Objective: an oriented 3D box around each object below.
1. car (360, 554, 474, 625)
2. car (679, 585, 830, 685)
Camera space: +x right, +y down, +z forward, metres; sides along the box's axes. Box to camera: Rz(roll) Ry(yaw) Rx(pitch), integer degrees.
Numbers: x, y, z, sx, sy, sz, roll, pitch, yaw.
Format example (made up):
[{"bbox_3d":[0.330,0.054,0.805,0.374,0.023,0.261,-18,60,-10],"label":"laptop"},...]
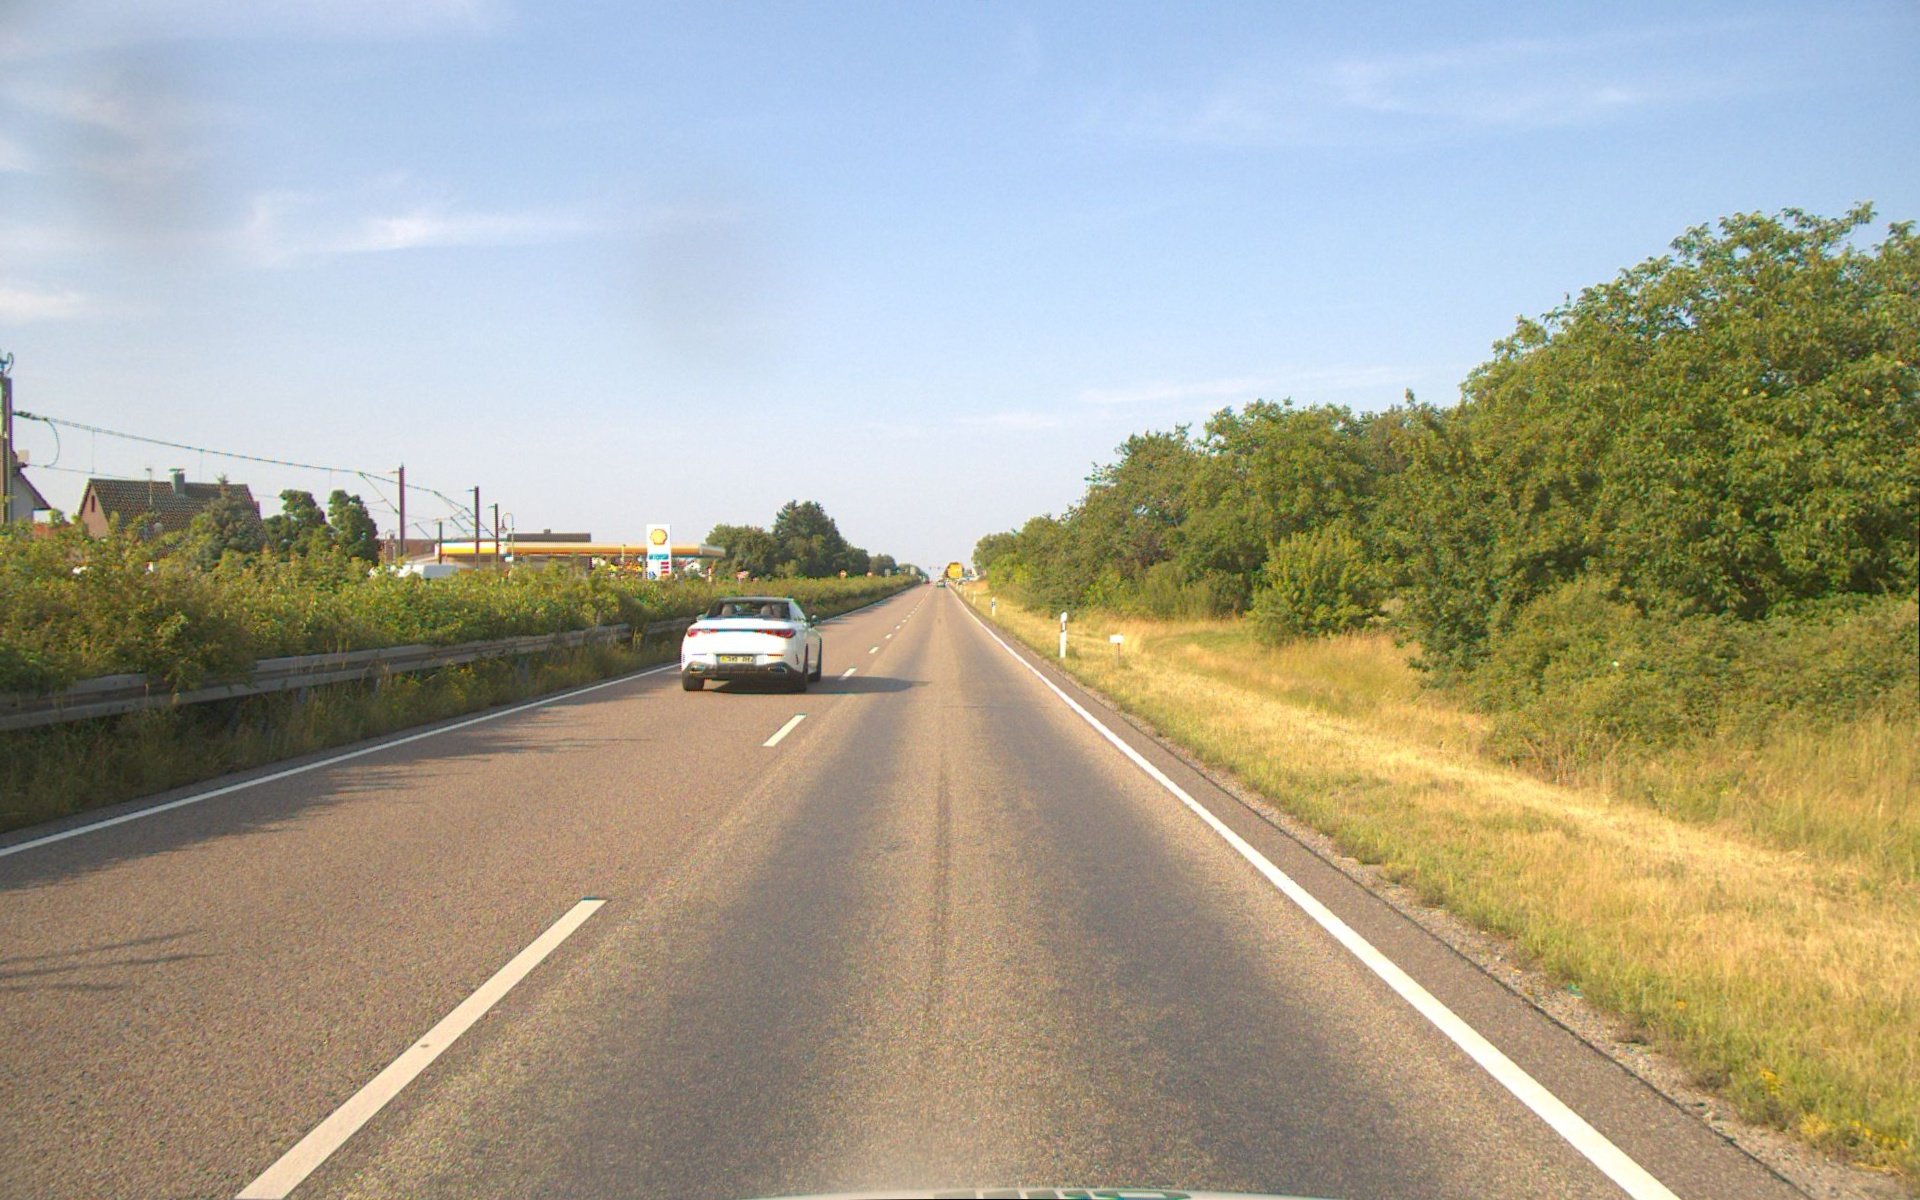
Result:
[{"bbox_3d":[-16.713,-0.316,51.186,1.953,2.049,4.871,1,0,-1],"label":"car"},{"bbox_3d":[-3.065,0.471,25.606,1.735,1.361,4.949,1,0,0],"label":"car"}]
